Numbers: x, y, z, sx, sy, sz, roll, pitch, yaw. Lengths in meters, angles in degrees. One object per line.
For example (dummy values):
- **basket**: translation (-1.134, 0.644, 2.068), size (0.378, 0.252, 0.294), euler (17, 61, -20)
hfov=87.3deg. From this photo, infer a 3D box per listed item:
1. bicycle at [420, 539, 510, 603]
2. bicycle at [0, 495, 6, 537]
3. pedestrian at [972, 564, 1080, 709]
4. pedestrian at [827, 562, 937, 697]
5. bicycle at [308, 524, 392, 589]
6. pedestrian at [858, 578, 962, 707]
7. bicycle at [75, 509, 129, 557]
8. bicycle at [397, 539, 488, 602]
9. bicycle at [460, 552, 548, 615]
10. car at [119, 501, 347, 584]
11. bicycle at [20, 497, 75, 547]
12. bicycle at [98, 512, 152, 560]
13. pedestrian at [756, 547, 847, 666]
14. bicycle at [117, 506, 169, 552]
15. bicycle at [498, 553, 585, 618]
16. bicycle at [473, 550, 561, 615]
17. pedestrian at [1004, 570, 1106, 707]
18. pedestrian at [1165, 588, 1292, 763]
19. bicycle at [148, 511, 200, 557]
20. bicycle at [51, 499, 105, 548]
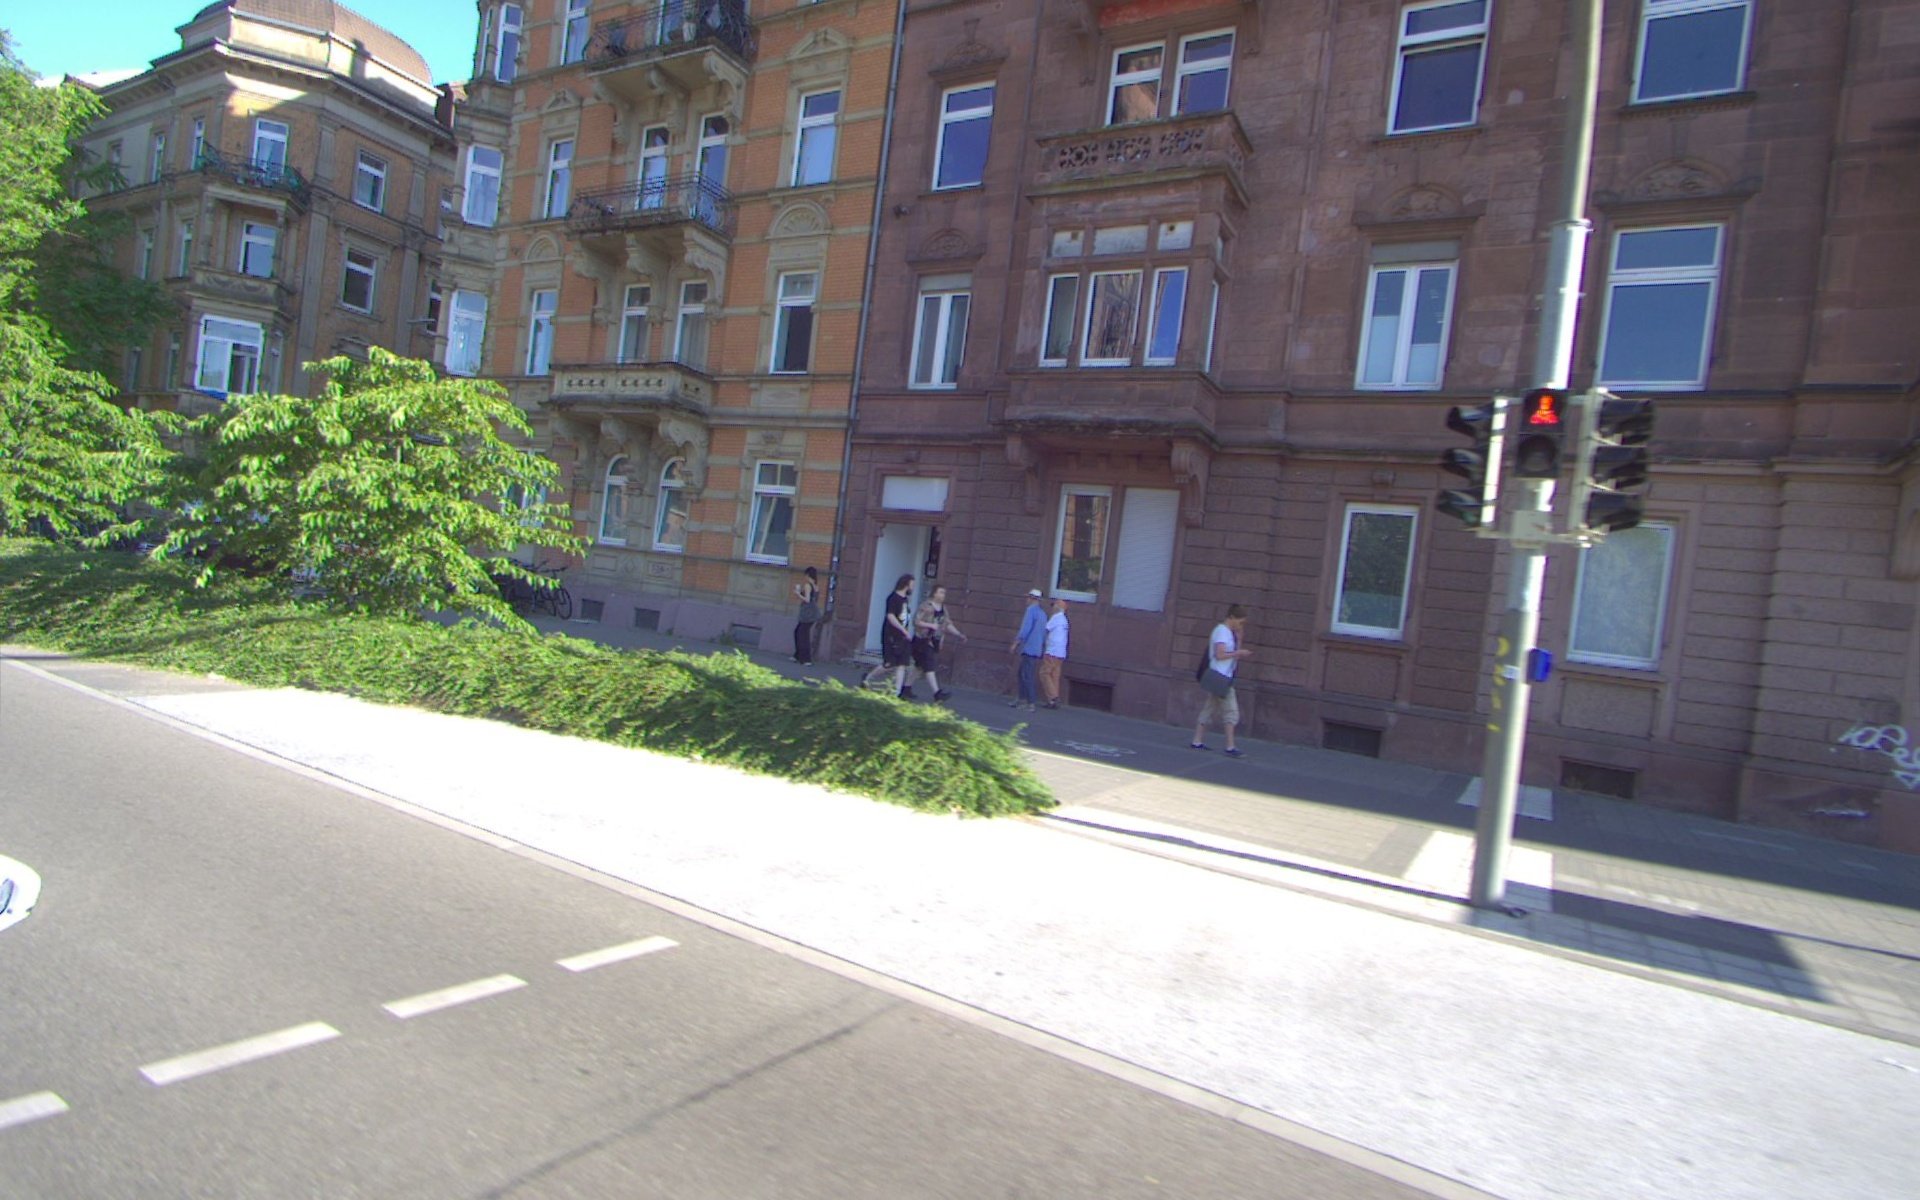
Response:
- **bicycle**: translation (-10.790, -0.602, 22.003), size (0.481, 1.255, 1.888), euler (6, 1, 18)
- **bicycle**: translation (-25.825, -2.316, 26.454), size (1.789, 1.061, 0.518), euler (11, 4, 30)
- **pedestrian**: translation (0.972, 0.538, 14.853), size (1.118, 1.954, 0.823), euler (8, 1, 31)
- **pedestrian**: translation (-1.069, 0.404, 13.829), size (1.118, 1.677, 0.703), euler (8, 1, 31)
- **bicycle**: translation (-13.332, -0.953, 21.980), size (1.855, 1.255, 0.490), euler (6, 2, 22)
- **pedestrian**: translation (-0.717, 0.604, 14.476), size (1.118, 1.677, 0.703), euler (8, 1, 31)
- **bicycle**: translation (-23.839, -1.871, 27.943), size (1.789, 1.061, 0.518), euler (11, 4, 30)
- **bicycle**: translation (-11.348, -0.625, 22.126), size (0.481, 1.255, 1.888), euler (6, 1, 18)
- **bicycle**: translation (-9.793, -0.327, 21.681), size (0.481, 1.255, 1.888), euler (6, 1, 18)
- **car**: translation (-18.306, -1.398, 25.545), size (1.782, 1.433, 4.256), euler (11, 2, 30)
- **bicycle**: translation (-24.393, -2.092, 26.890), size (1.789, 1.061, 0.518), euler (11, 4, 30)
- **bicycle**: translation (-23.581, -1.816, 28.406), size (1.789, 1.061, 0.518), euler (11, 4, 30)
- **pedestrian**: translation (-2.816, 0.128, 17.891), size (1.118, 1.954, 0.823), euler (8, 1, 31)
- **bicycle**: translation (-23.807, -2.065, 29.290), size (1.789, 1.061, 0.518), euler (11, 4, 30)
- **bicycle**: translation (-8.769, -0.274, 21.179), size (0.481, 1.255, 1.888), euler (6, 1, 18)
- **bicycle**: translation (-9.327, -0.341, 21.267), size (0.481, 1.255, 1.888), euler (6, 1, 18)
- **pedestrian**: translation (1.486, 0.592, 15.695), size (1.118, 1.954, 0.823), euler (8, 1, 31)
- **pedestrian**: translation (3.324, 0.910, 12.457), size (1.118, 1.954, 0.823), euler (8, 1, 31)
- **bicycle**: translation (-23.001, -1.935, 29.438), size (1.789, 1.061, 0.518), euler (11, 4, 30)
- **bicycle**: translation (-24.070, -2.082, 27.445), size (1.789, 1.061, 0.518), euler (11, 4, 30)
